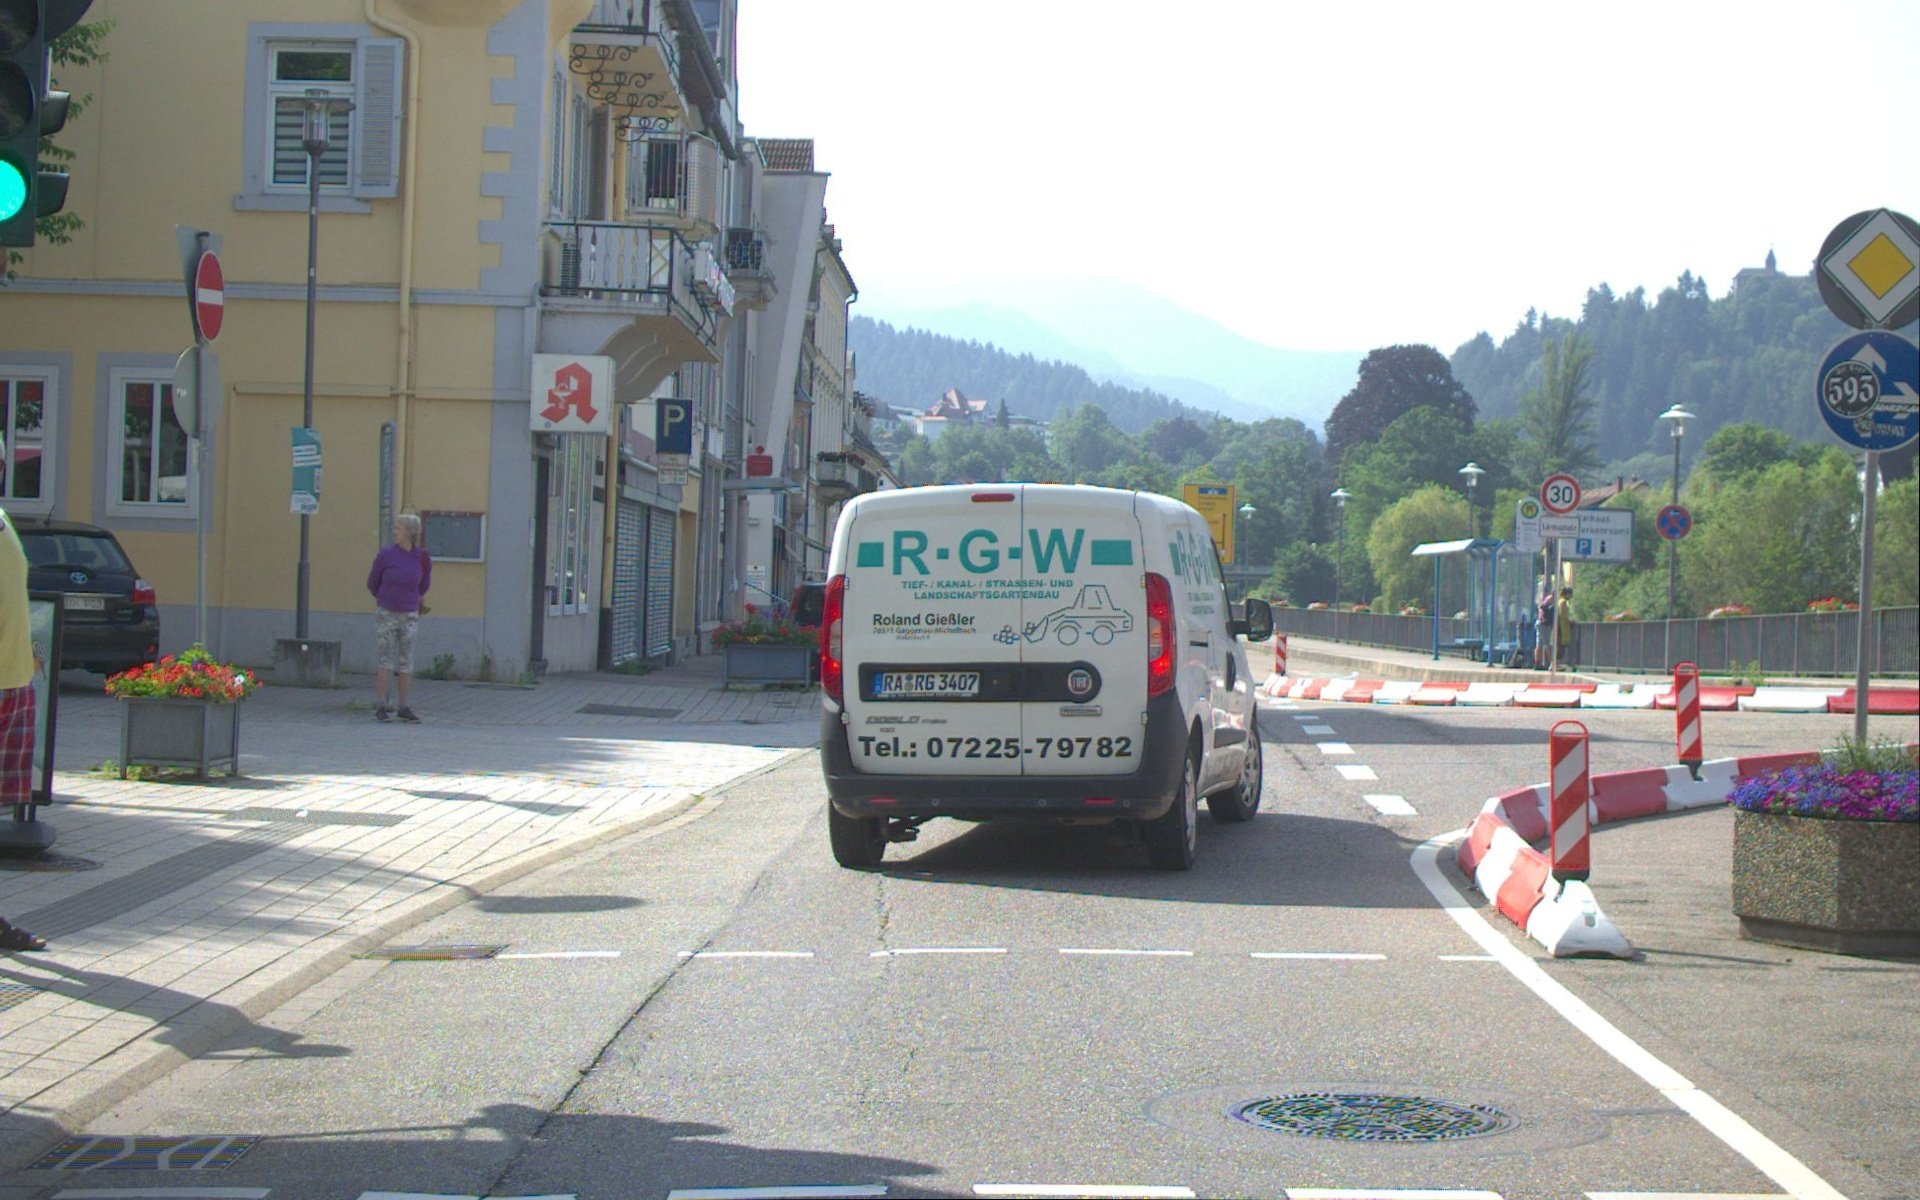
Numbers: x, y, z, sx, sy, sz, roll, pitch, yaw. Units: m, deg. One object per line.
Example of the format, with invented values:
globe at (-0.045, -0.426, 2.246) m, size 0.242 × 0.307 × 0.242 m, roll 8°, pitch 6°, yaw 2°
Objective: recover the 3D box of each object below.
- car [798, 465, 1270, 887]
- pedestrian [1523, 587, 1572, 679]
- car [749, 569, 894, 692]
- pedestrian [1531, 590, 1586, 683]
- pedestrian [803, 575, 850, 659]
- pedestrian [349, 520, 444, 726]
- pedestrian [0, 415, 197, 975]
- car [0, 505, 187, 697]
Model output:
car at (0.522, 0.318, 17.948) m, size 1.845 × 1.899 × 4.313 m, roll 1°, pitch 1°, yaw 9°
pedestrian at (11.143, 0.626, 65.195) m, size 0.789 × 1.700 × 0.491 m, roll 2°, pitch 0°, yaw 2°
car at (-1.845, 0.395, 46.668) m, size 1.846 × 1.563 × 3.568 m, roll 1°, pitch 0°, yaw -1°
pedestrian at (11.226, 0.685, 64.542) m, size 0.867 × 1.700 × 0.777 m, roll 2°, pitch 0°, yaw 2°
pedestrian at (-2.738, 0.347, 70.388) m, size 0.690 × 1.691 × 0.658 m, roll 1°, pitch 0°, yaw 28°
pedestrian at (-4.795, 0.190, 29.282) m, size 0.678 × 1.709 × 0.617 m, roll 2°, pitch 1°, yaw -4°
pedestrian at (-3.375, 0.279, 11.620) m, size 1.019 × 1.809 × 0.906 m, roll 7°, pitch 0°, yaw 25°
car at (-8.724, -0.057, 31.062) m, size 1.917 × 1.537 × 3.959 m, roll 2°, pitch 2°, yaw -36°
